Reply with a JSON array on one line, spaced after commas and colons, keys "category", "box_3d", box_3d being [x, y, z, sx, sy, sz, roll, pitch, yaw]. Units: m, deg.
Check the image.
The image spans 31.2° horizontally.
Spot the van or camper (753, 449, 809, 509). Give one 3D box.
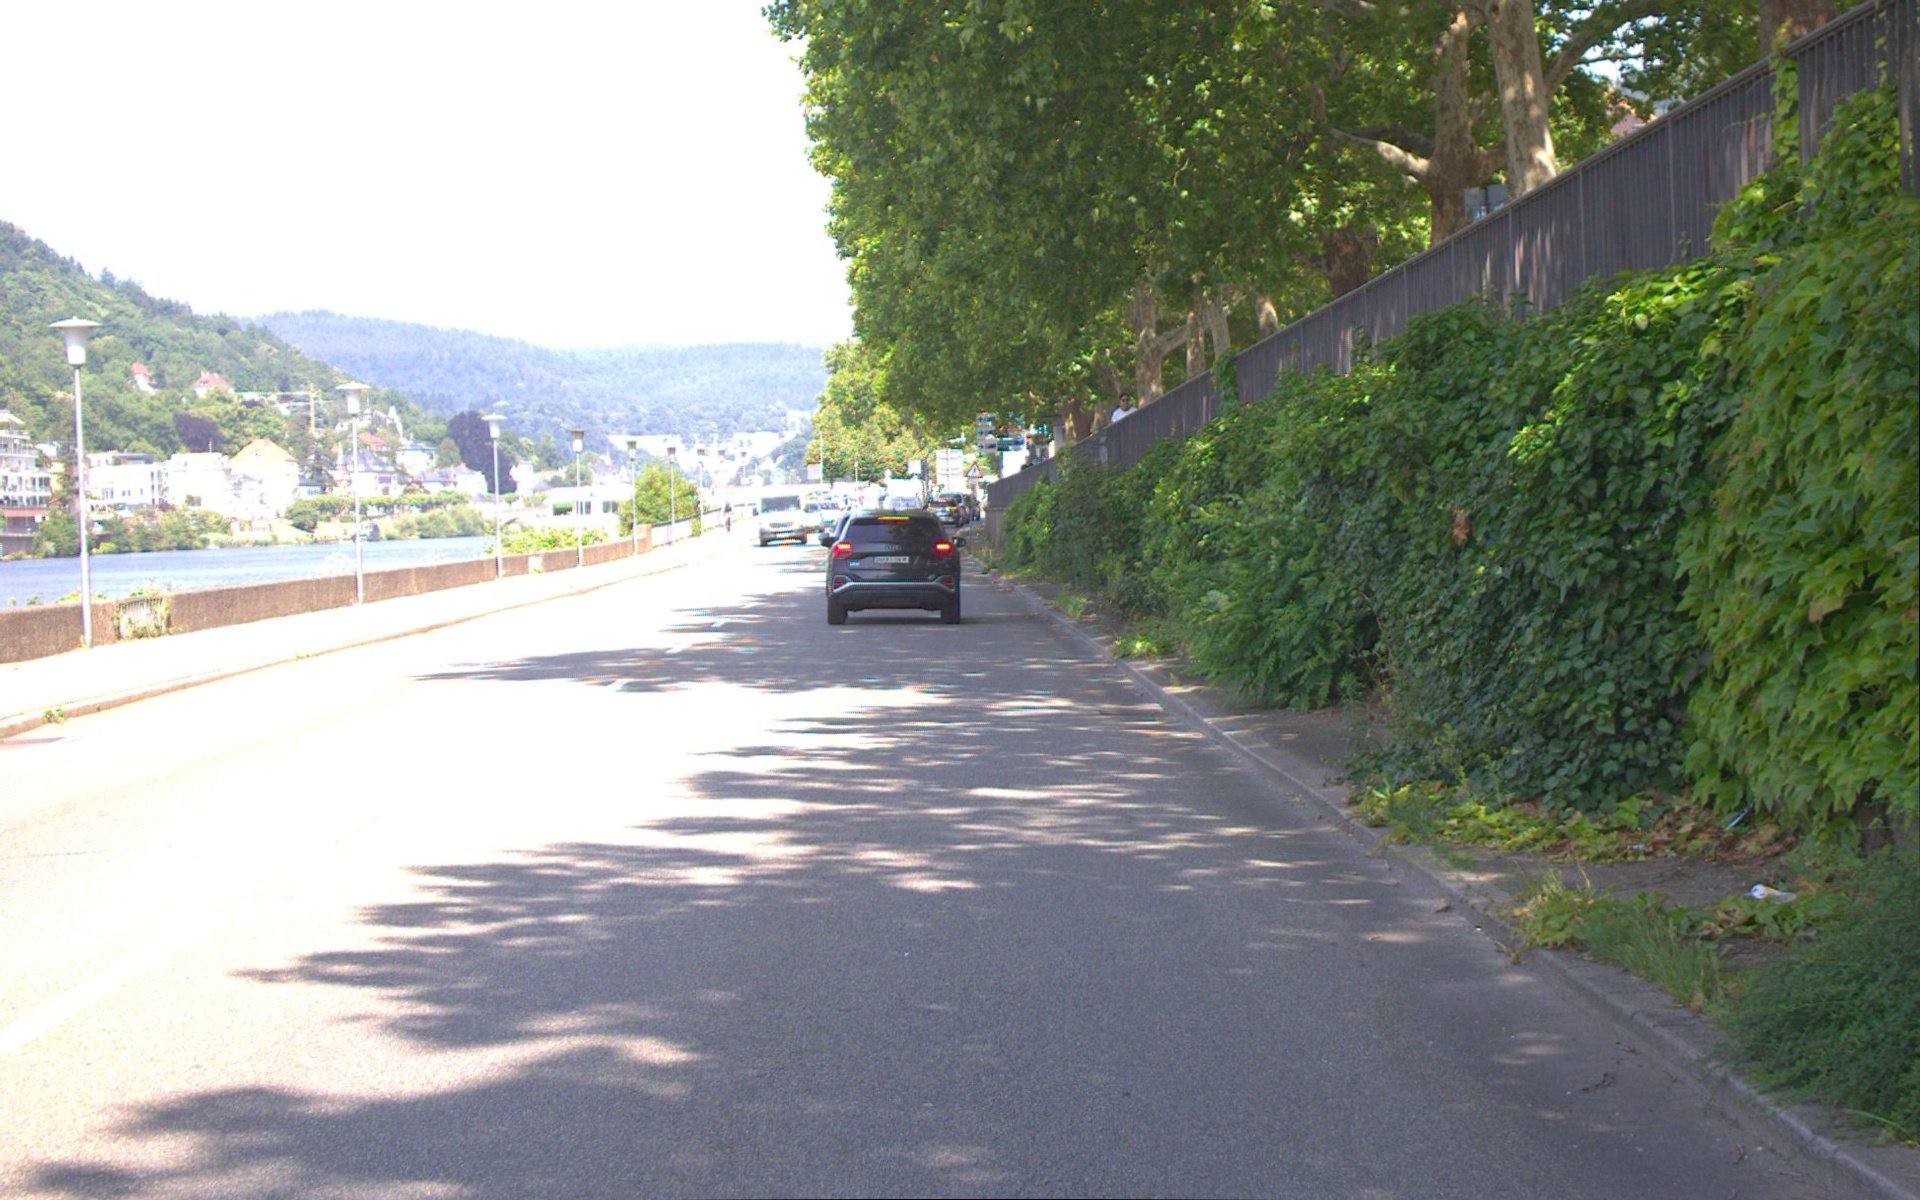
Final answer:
[{"category": "van or camper", "box_3d": [-7.557, -5.092, 145.333, 2.077, 2.390, 5.386, -3, 2, -1]}]

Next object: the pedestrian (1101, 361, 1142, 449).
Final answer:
[{"category": "pedestrian", "box_3d": [2.980, -3.586, 63.421, 0.664, 1.585, 0.651, -2, 2, -1]}]

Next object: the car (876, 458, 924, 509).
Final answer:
[{"category": "car", "box_3d": [-2.703, -5.219, 154.284, 1.993, 2.162, 4.001, -3, 2, -2]}]

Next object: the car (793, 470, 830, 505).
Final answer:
[{"category": "car", "box_3d": [-7.392, -5.619, 171.618, 1.731, 1.644, 4.178, -3, 2, -2]}]

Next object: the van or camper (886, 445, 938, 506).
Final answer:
[{"category": "van or camper", "box_3d": [-2.329, -6.061, 167.610, 2.310, 2.837, 4.246, -3, 2, 1]}]

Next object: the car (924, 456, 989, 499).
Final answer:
[{"category": "car", "box_3d": [-0.223, -6.439, 180.575, 3.098, 2.006, 5.825, -4, 2, -2]}]

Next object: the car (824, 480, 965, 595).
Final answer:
[{"category": "car", "box_3d": [-0.909, -0.886, 46.741, 1.828, 1.481, 4.001, -1, 2, -2]}]

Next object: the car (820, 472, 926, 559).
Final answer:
[{"category": "car", "box_3d": [-1.575, -1.546, 61.956, 1.828, 1.506, 4.001, -1, 2, -2]}]

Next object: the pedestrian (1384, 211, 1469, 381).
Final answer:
[{"category": "pedestrian", "box_3d": [4.633, -3.013, 34.174, 0.646, 1.634, 0.627, -2, 2, -9]}]

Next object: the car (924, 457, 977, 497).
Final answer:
[{"category": "car", "box_3d": [-0.543, -6.913, 192.975, 2.661, 2.006, 5.825, -4, 2, -2]}]
